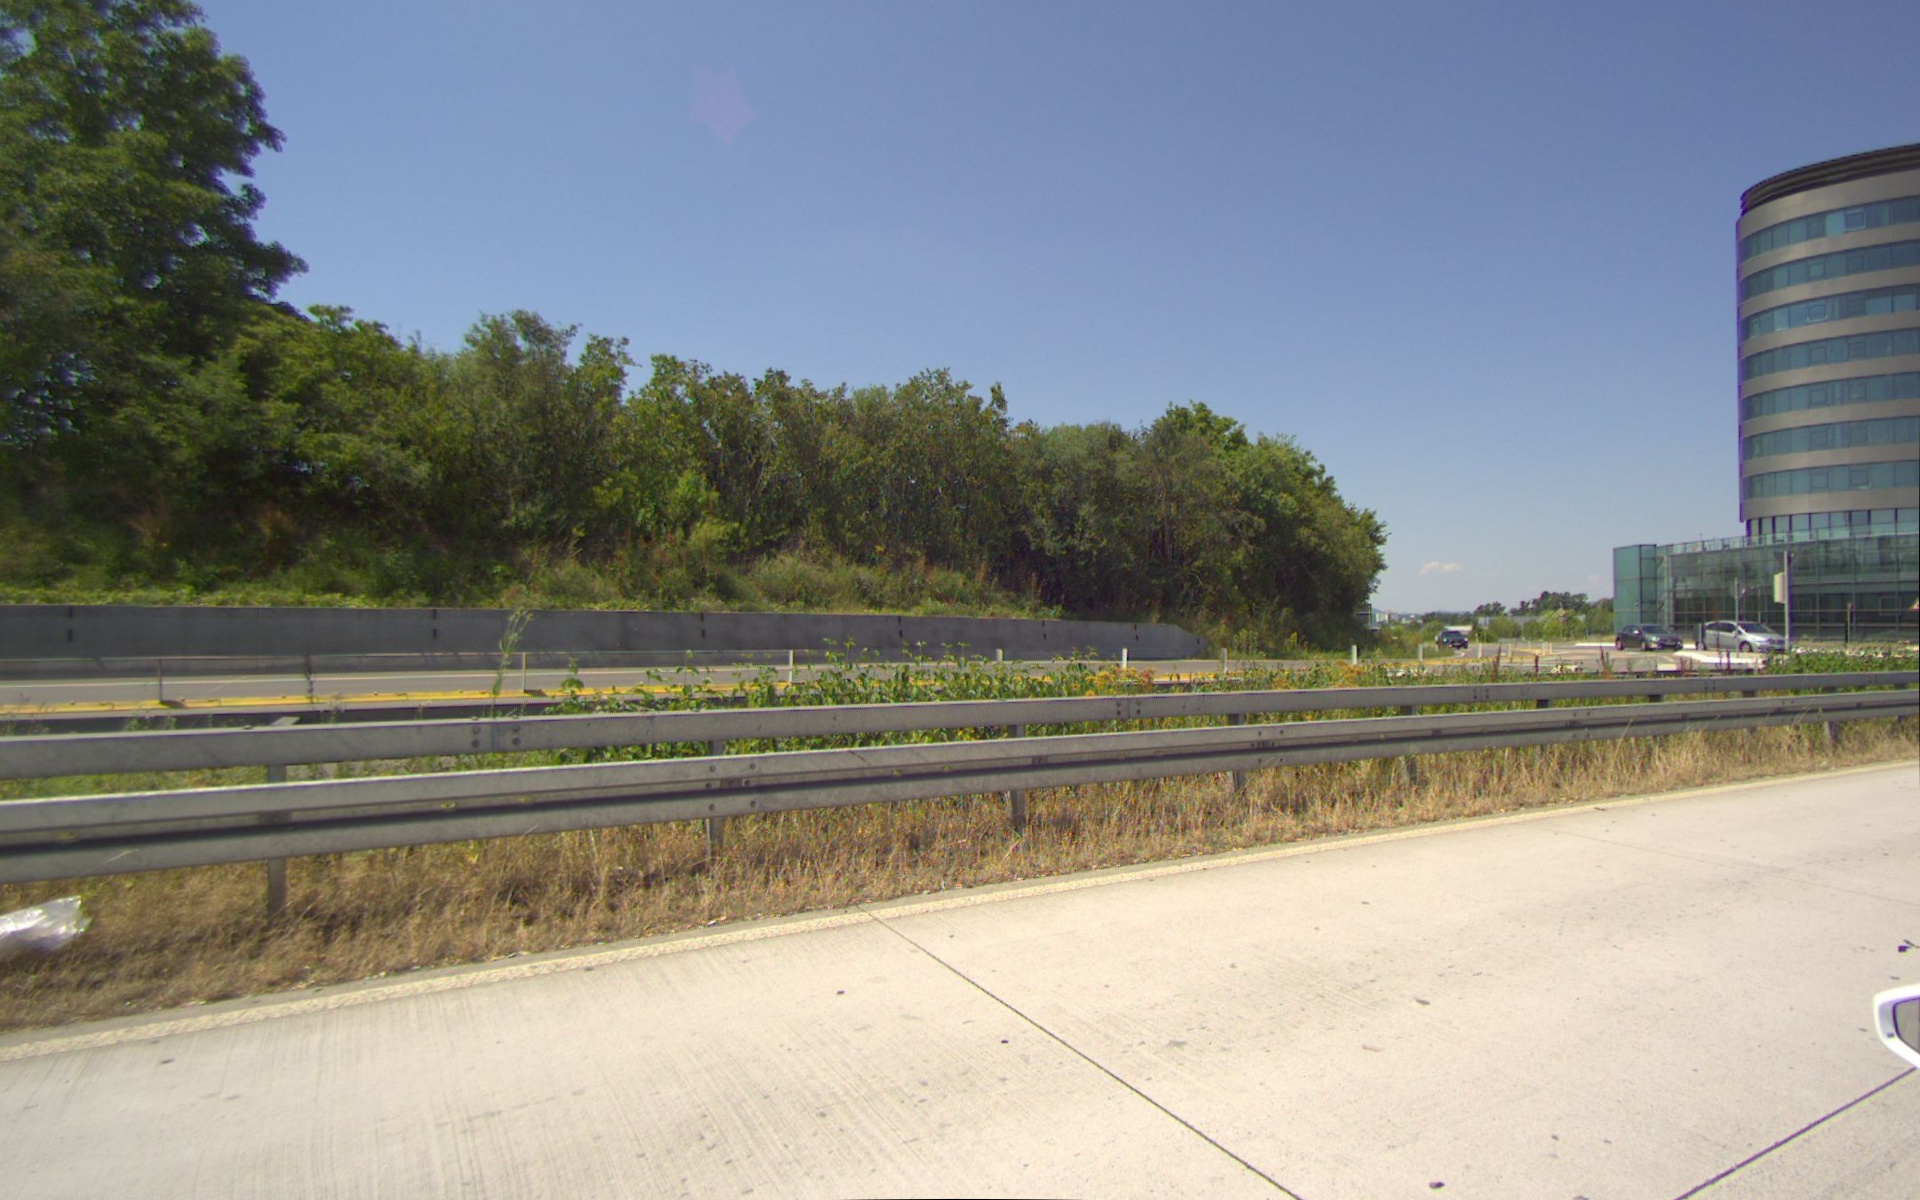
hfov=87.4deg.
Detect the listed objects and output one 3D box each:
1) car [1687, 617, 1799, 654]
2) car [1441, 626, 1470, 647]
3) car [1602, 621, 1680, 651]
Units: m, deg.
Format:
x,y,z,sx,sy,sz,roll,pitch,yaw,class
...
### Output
x,y,z,sx,sy,sz,roll,pitch,yaw,class
36.485,1.676,46.956,1.742,1.616,4.329,2,-2,-2,car
37.650,2.751,76.375,1.684,1.504,4.292,2,0,23,car
36.990,1.976,54.686,1.663,1.475,4.333,2,-2,6,car
